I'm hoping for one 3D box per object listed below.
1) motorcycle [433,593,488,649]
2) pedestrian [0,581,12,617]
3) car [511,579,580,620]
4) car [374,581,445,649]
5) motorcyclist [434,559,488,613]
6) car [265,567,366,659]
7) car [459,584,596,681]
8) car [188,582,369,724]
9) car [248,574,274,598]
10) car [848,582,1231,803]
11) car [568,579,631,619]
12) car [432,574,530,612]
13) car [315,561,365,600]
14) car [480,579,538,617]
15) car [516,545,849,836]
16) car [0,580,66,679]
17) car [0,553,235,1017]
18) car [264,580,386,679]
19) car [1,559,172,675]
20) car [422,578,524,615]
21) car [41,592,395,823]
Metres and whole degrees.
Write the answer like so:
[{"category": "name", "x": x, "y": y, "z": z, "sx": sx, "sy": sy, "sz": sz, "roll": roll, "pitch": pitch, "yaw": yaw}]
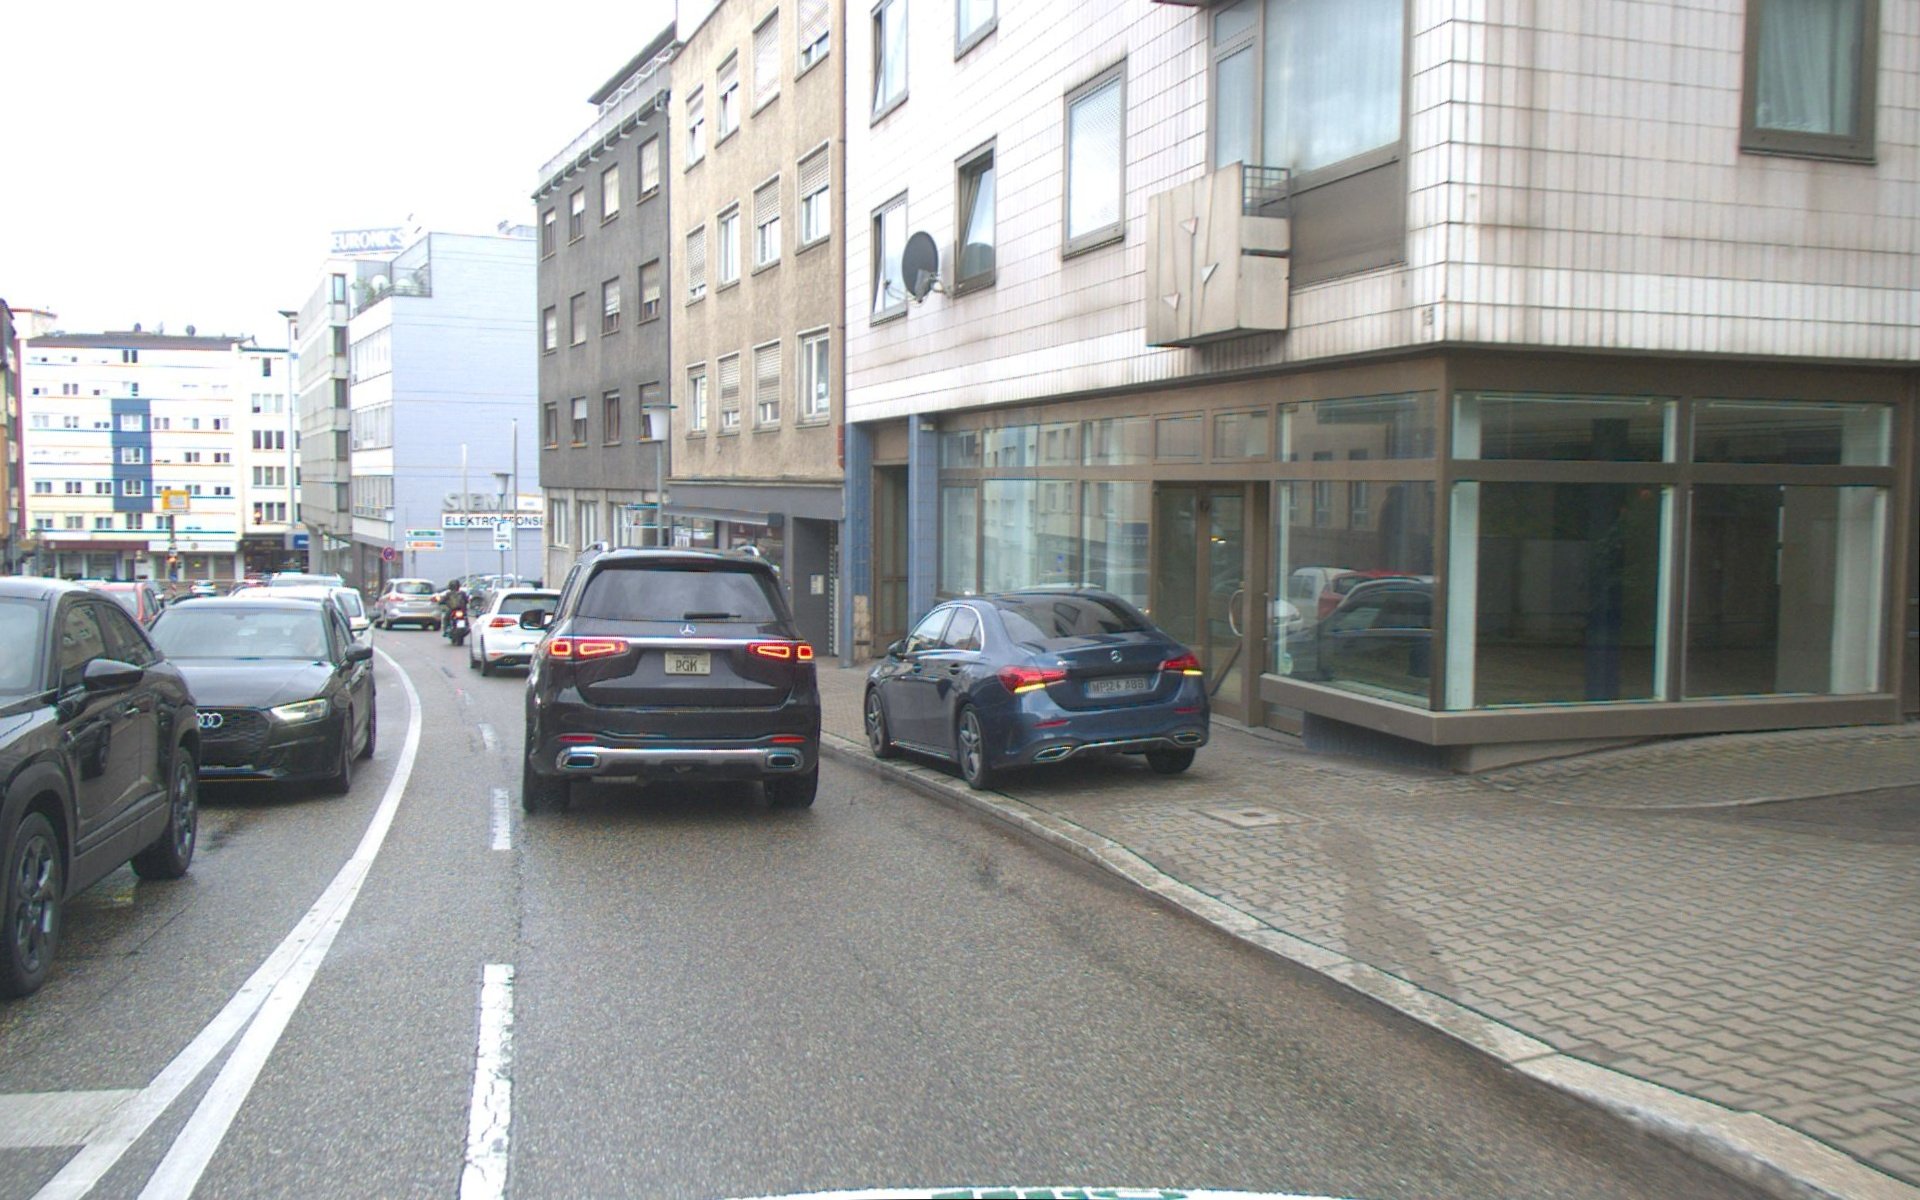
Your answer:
[{"category": "motorcycle", "x": -12.205, "y": 0.486, "z": 40.341, "sx": 0.857, "sy": 1.075, "sz": 2.916, "roll": 0, "pitch": 5, "yaw": -25}, {"category": "pedestrian", "x": -46.649, "y": -0.055, "z": 80.650, "sx": 0.732, "sy": 1.680, "sz": 0.600, "roll": -1, "pitch": 5, "yaw": -30}, {"category": "car", "x": -16.197, "y": -0.037, "z": 64.497, "sx": 1.774, "sy": 1.503, "sz": 4.449, "roll": 1, "pitch": 0, "yaw": -25}, {"category": "car", "x": -17.445, "y": 0.446, "z": 52.287, "sx": 1.731, "sy": 1.810, "sz": 3.548, "roll": 0, "pitch": 5, "yaw": -25}, {"category": "motorcyclist", "x": -12.200, "y": -0.369, "z": 40.375, "sx": 0.857, "sy": 1.075, "sz": 2.917, "roll": 0, "pitch": 5, "yaw": -25}, {"category": "car", "x": -13.263, "y": 0.254, "z": 34.092, "sx": 1.781, "sy": 1.735, "sz": 4.532, "roll": 2, "pitch": 0, "yaw": -21}, {"category": "car", "x": -7.677, "y": 0.521, "z": 29.106, "sx": 1.804, "sy": 1.487, "sz": 4.351, "roll": -3, "pitch": 1, "yaw": -21}, {"category": "car", "x": -8.374, "y": 0.576, "z": 20.643, "sx": 1.779, "sy": 1.548, "sz": 4.537, "roll": -1, "pitch": 0, "yaw": -19}, {"category": "car", "x": -46.673, "y": -0.949, "z": 110.359, "sx": 1.503, "sy": 1.575, "sz": 3.083, "roll": 0, "pitch": 1, "yaw": -25}, {"category": "car", "x": 0.443, "y": 0.623, "z": 13.583, "sx": 1.736, "sy": 1.416, "sz": 4.358, "roll": -3, "pitch": 1, "yaw": -17}, {"category": "car", "x": -14.340, "y": -0.065, "z": 65.694, "sx": 1.771, "sy": 1.503, "sz": 4.456, "roll": 0, "pitch": 1, "yaw": -22}, {"category": "car", "x": -21.735, "y": -0.293, "z": 75.143, "sx": 1.768, "sy": 1.625, "sz": 3.973, "roll": -1, "pitch": -1, "yaw": 44}, {"category": "car", "x": -25.837, "y": -0.840, "z": 68.898, "sx": 1.506, "sy": 1.575, "sz": 3.077, "roll": 0, "pitch": 1, "yaw": -29}, {"category": "car", "x": -18.898, "y": -0.108, "z": 69.243, "sx": 1.547, "sy": 1.503, "sz": 4.034, "roll": 1, "pitch": 0, "yaw": -27}, {"category": "car", "x": -2.319, "y": 0.531, "z": 12.629, "sx": 1.988, "sy": 1.770, "sz": 4.726, "roll": 0, "pitch": 0, "yaw": -16}, {"category": "car", "x": -19.224, "y": 0.581, "z": 33.143, "sx": 1.703, "sy": 1.861, "sz": 4.035, "roll": -3, "pitch": 1, "yaw": -21}, {"category": "car", "x": -4.490, "y": 0.645, "z": 7.023, "sx": 1.788, "sy": 1.564, "sz": 4.364, "roll": 0, "pitch": 0, "yaw": -13}, {"category": "car", "x": -10.503, "y": 0.458, "z": 27.578, "sx": 1.672, "sy": 1.506, "sz": 4.267, "roll": 2, "pitch": 0, "yaw": -19}, {"category": "car", "x": -13.176, "y": 0.224, "z": 25.165, "sx": 1.715, "sy": 1.542, "sz": 4.105, "roll": -3, "pitch": 1, "yaw": -21}, {"category": "car", "x": -21.244, "y": -0.139, "z": 72.256, "sx": 1.703, "sy": 1.521, "sz": 3.973, "roll": -1, "pitch": -1, "yaw": 44}, {"category": "car", "x": -5.493, "y": 0.671, "z": 12.807, "sx": 1.776, "sy": 1.439, "sz": 4.362, "roll": -1, "pitch": 0, "yaw": -15}]
